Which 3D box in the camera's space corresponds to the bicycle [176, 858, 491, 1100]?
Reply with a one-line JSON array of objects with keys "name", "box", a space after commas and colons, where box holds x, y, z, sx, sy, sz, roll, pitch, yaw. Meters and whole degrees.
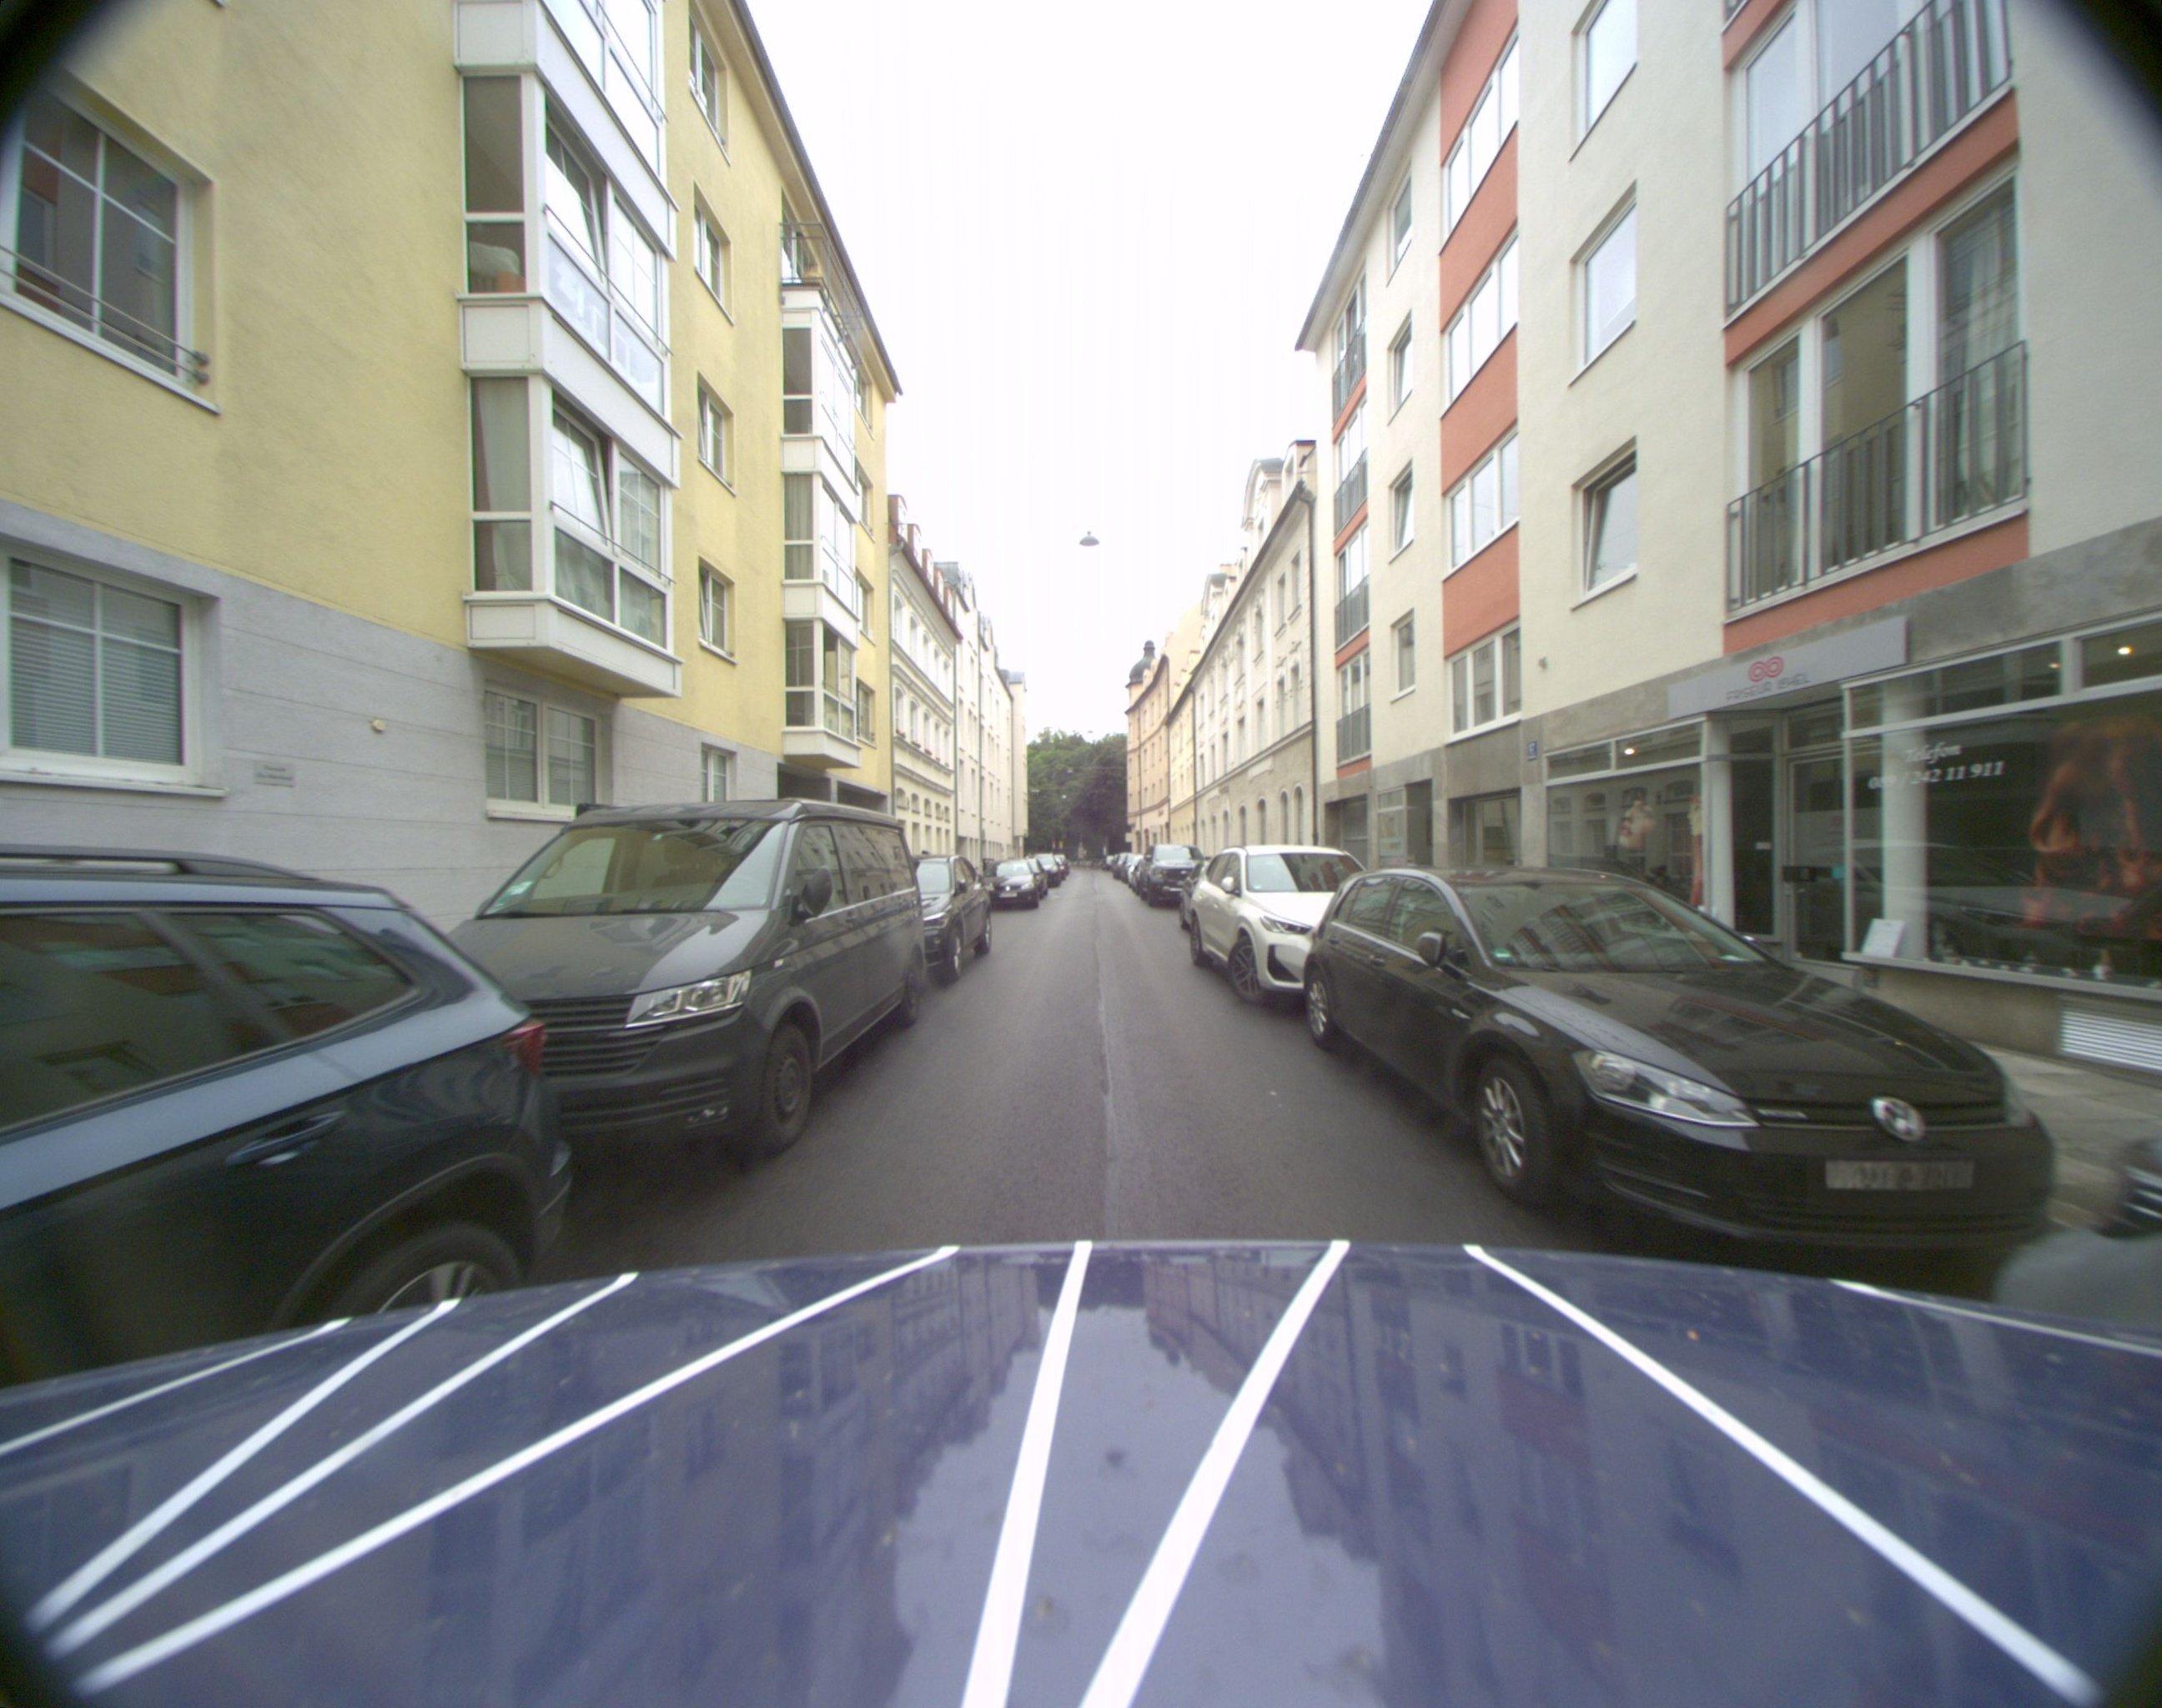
[{"name": "bicycle", "box": [-5.302, 0.797, 5.584, 0.433, 1.462, 1.869, -1, -2, 1]}]

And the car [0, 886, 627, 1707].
[{"name": "car", "box": [-2.481, 0.963, 0.384, 1.837, 1.612, 4.323, -2, 1, 0]}]

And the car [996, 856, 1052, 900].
[{"name": "car", "box": [-2.068, 0.855, 28.355, 1.739, 1.433, 3.685, -2, 0, 0]}]

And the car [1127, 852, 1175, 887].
[{"name": "car", "box": [3.218, 0.688, 35.601, 1.951, 1.470, 3.716, 1, 0, 1]}]

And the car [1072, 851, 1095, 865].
[{"name": "car", "box": [0.251, 0.437, 85.596, 1.800, 1.501, 3.996, 1, 0, -10]}]

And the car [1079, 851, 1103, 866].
[{"name": "car", "box": [1.080, 0.461, 81.493, 1.800, 1.501, 3.996, 1, 0, -10]}]

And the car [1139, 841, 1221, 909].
[{"name": "car", "box": [2.953, 0.577, 23.685, 1.951, 1.850, 4.908, 1, 0, 1]}]

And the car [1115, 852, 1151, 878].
[{"name": "car", "box": [3.112, 0.610, 46.489, 1.951, 1.470, 3.979, 1, 0, 1]}]

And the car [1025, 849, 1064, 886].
[{"name": "car", "box": [-1.786, 0.651, 38.643, 1.739, 1.743, 3.685, -2, 0, 0]}]

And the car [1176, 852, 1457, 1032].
[{"name": "car", "box": [2.391, 0.795, 8.976, 1.786, 1.596, 4.307, 1, 0, -3]}]

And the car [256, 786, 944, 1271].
[{"name": "car", "box": [-2.481, 0.698, 5.764, 1.878, 2.002, 5.105, -2, 1, 0]}]

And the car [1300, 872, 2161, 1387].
[{"name": "car", "box": [2.605, 0.899, 4.266, 1.632, 1.467, 3.841, 1, 0, 0]}]

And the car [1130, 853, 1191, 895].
[{"name": "car", "box": [2.990, 0.725, 29.331, 1.951, 1.470, 3.716, 1, 0, 1]}]

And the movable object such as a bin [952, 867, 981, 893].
[{"name": "movable object such as a bin", "box": [-4.475, 1.015, 29.705, 0.740, 0.926, 1.650, -7, -2, 1]}]

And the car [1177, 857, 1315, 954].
[{"name": "car", "box": [2.818, 0.807, 13.809, 1.632, 1.467, 4.029, 1, 0, 0]}]

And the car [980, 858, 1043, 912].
[{"name": "car", "box": [-2.136, 0.895, 23.831, 1.750, 1.433, 4.227, -2, 0, -4]}]

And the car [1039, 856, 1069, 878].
[{"name": "car", "box": [-1.678, 0.793, 48.949, 1.739, 1.297, 3.685, -2, 0, 0]}]

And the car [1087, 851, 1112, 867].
[{"name": "car", "box": [1.840, 0.525, 77.296, 1.800, 1.501, 3.996, 1, 0, -10]}]

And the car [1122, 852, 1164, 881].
[{"name": "car", "box": [3.290, 0.638, 40.783, 1.951, 1.470, 3.716, 1, 0, 1]}]

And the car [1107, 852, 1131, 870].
[{"name": "car", "box": [3.327, 0.626, 67.696, 1.951, 1.470, 3.979, 1, 0, 1]}]

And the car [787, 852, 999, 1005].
[{"name": "car", "box": [-2.389, 0.851, 10.846, 1.837, 1.676, 4.228, -2, 1, 1]}]
